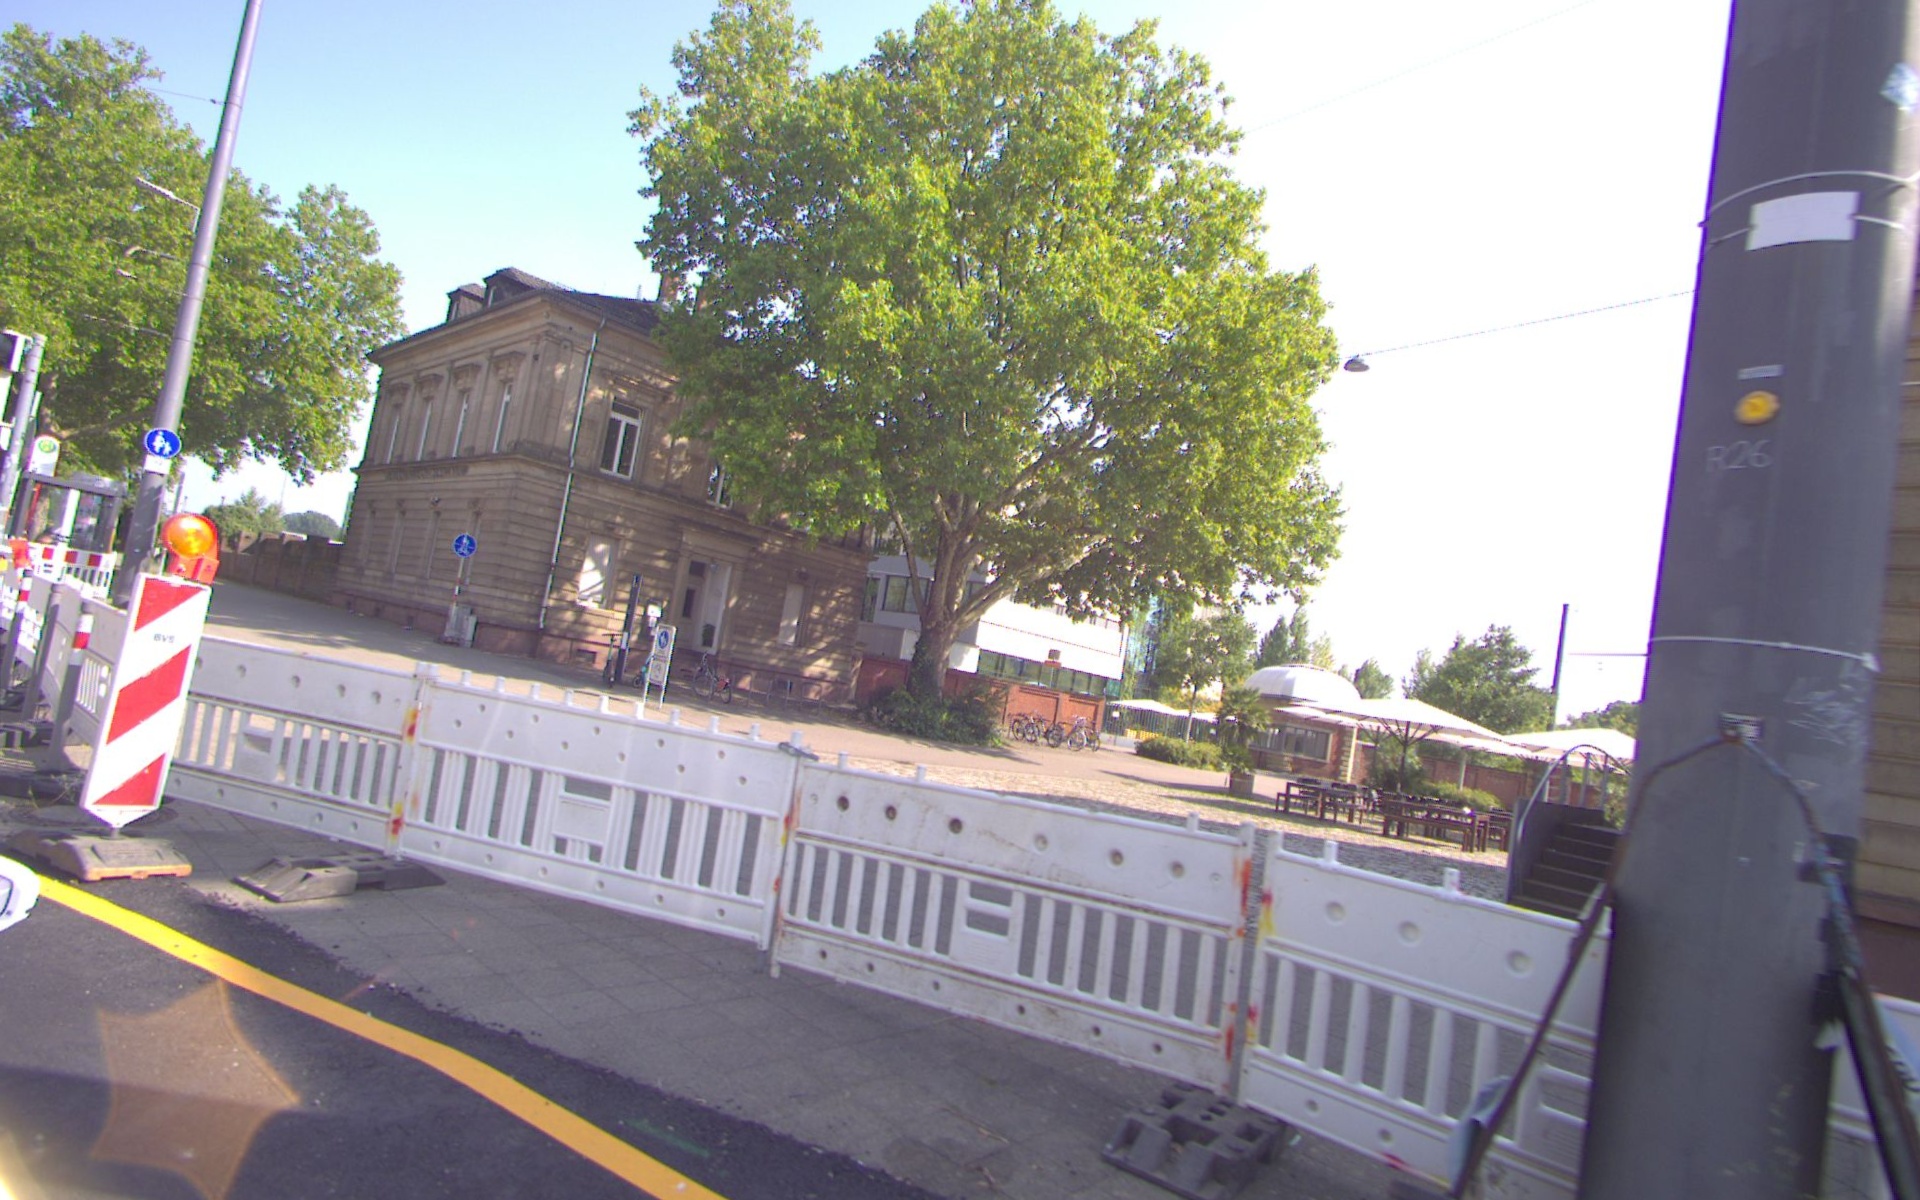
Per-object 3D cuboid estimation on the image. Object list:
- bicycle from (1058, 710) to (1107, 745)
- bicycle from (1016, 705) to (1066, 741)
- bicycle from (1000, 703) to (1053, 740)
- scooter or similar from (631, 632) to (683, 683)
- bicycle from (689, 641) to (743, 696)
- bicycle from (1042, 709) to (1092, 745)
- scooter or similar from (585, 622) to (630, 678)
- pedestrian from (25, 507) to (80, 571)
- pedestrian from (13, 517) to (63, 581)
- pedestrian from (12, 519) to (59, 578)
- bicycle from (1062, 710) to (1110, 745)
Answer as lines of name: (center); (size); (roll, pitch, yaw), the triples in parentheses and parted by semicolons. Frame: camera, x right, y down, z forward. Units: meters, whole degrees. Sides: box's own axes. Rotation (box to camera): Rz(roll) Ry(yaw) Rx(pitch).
bicycle: (4.476, 4.662, 36.822); (0.566, 0.909, 1.776); (12, -2, -38)
bicycle: (2.781, 4.236, 34.657); (0.566, 0.869, 1.776); (12, -2, -38)
bicycle: (2.212, 4.074, 33.894); (0.644, 0.869, 1.776); (12, -2, -38)
scooter or similar: (-7.600, 1.449, 25.236); (0.308, 1.144, 1.092); (7, -4, 40)
bicycle: (-6.264, 1.738, 25.774); (0.497, 1.178, 1.610); (12, -4, -41)
bicycle: (3.727, 4.433, 35.139); (0.566, 0.869, 1.776); (12, -2, -38)
scooter or similar: (-8.438, 1.190, 24.052); (0.408, 1.178, 1.212); (11, -4, -41)
pedestrian: (-25.543, -1.714, 28.343); (0.879, 1.642, 0.814); (12, -4, -40)
pedestrian: (-20.533, -1.144, 22.411); (0.748, 1.291, 0.608); (7, -2, 42)
pedestrian: (-21.118, -1.176, 22.981); (0.566, 1.231, 0.608); (7, -2, 41)
bicycle: (4.686, 4.742, 37.534); (0.566, 0.909, 1.776); (12, -2, -38)
